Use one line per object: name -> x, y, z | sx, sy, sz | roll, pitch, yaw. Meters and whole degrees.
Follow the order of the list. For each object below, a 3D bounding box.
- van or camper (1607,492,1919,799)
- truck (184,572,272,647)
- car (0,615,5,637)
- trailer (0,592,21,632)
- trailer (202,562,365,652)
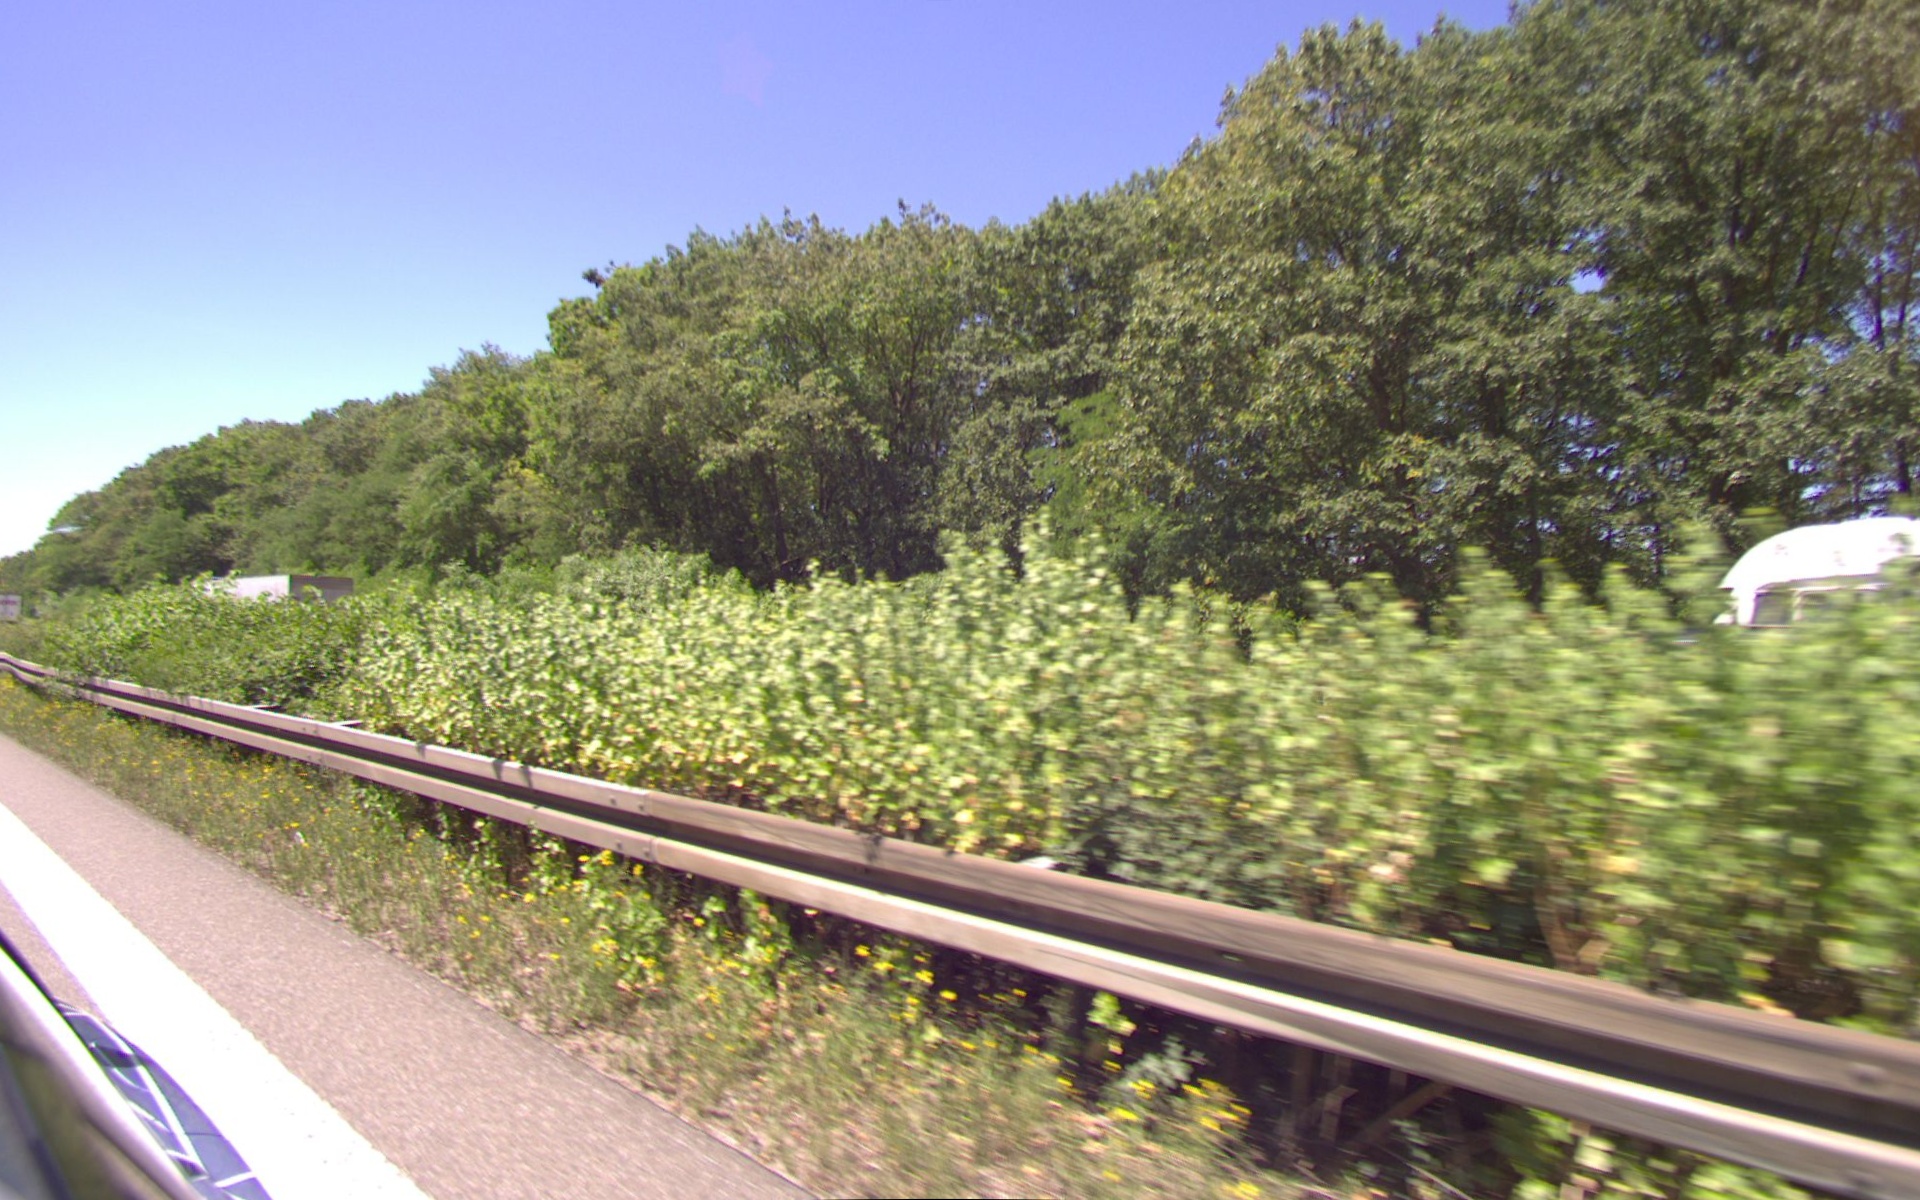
van or camper -> 11.989, 0.458, 10.086 | 9.082, 3.136, 2.395 | -1, -2, 41
truck -> -39.757, 0.537, 54.964 | 4.880, 3.852, 2.754 | -1, -1, 40
car -> -62.961, 1.666, 65.040 | 4.010, 1.415, 1.794 | -1, -1, 39
trailer -> -102.277, 1.274, 106.970 | 12.905, 4.080, 2.891 | -1, -1, 40
trailer -> -33.242, 0.368, 49.344 | 13.631, 3.907, 2.880 | -1, -1, 40
